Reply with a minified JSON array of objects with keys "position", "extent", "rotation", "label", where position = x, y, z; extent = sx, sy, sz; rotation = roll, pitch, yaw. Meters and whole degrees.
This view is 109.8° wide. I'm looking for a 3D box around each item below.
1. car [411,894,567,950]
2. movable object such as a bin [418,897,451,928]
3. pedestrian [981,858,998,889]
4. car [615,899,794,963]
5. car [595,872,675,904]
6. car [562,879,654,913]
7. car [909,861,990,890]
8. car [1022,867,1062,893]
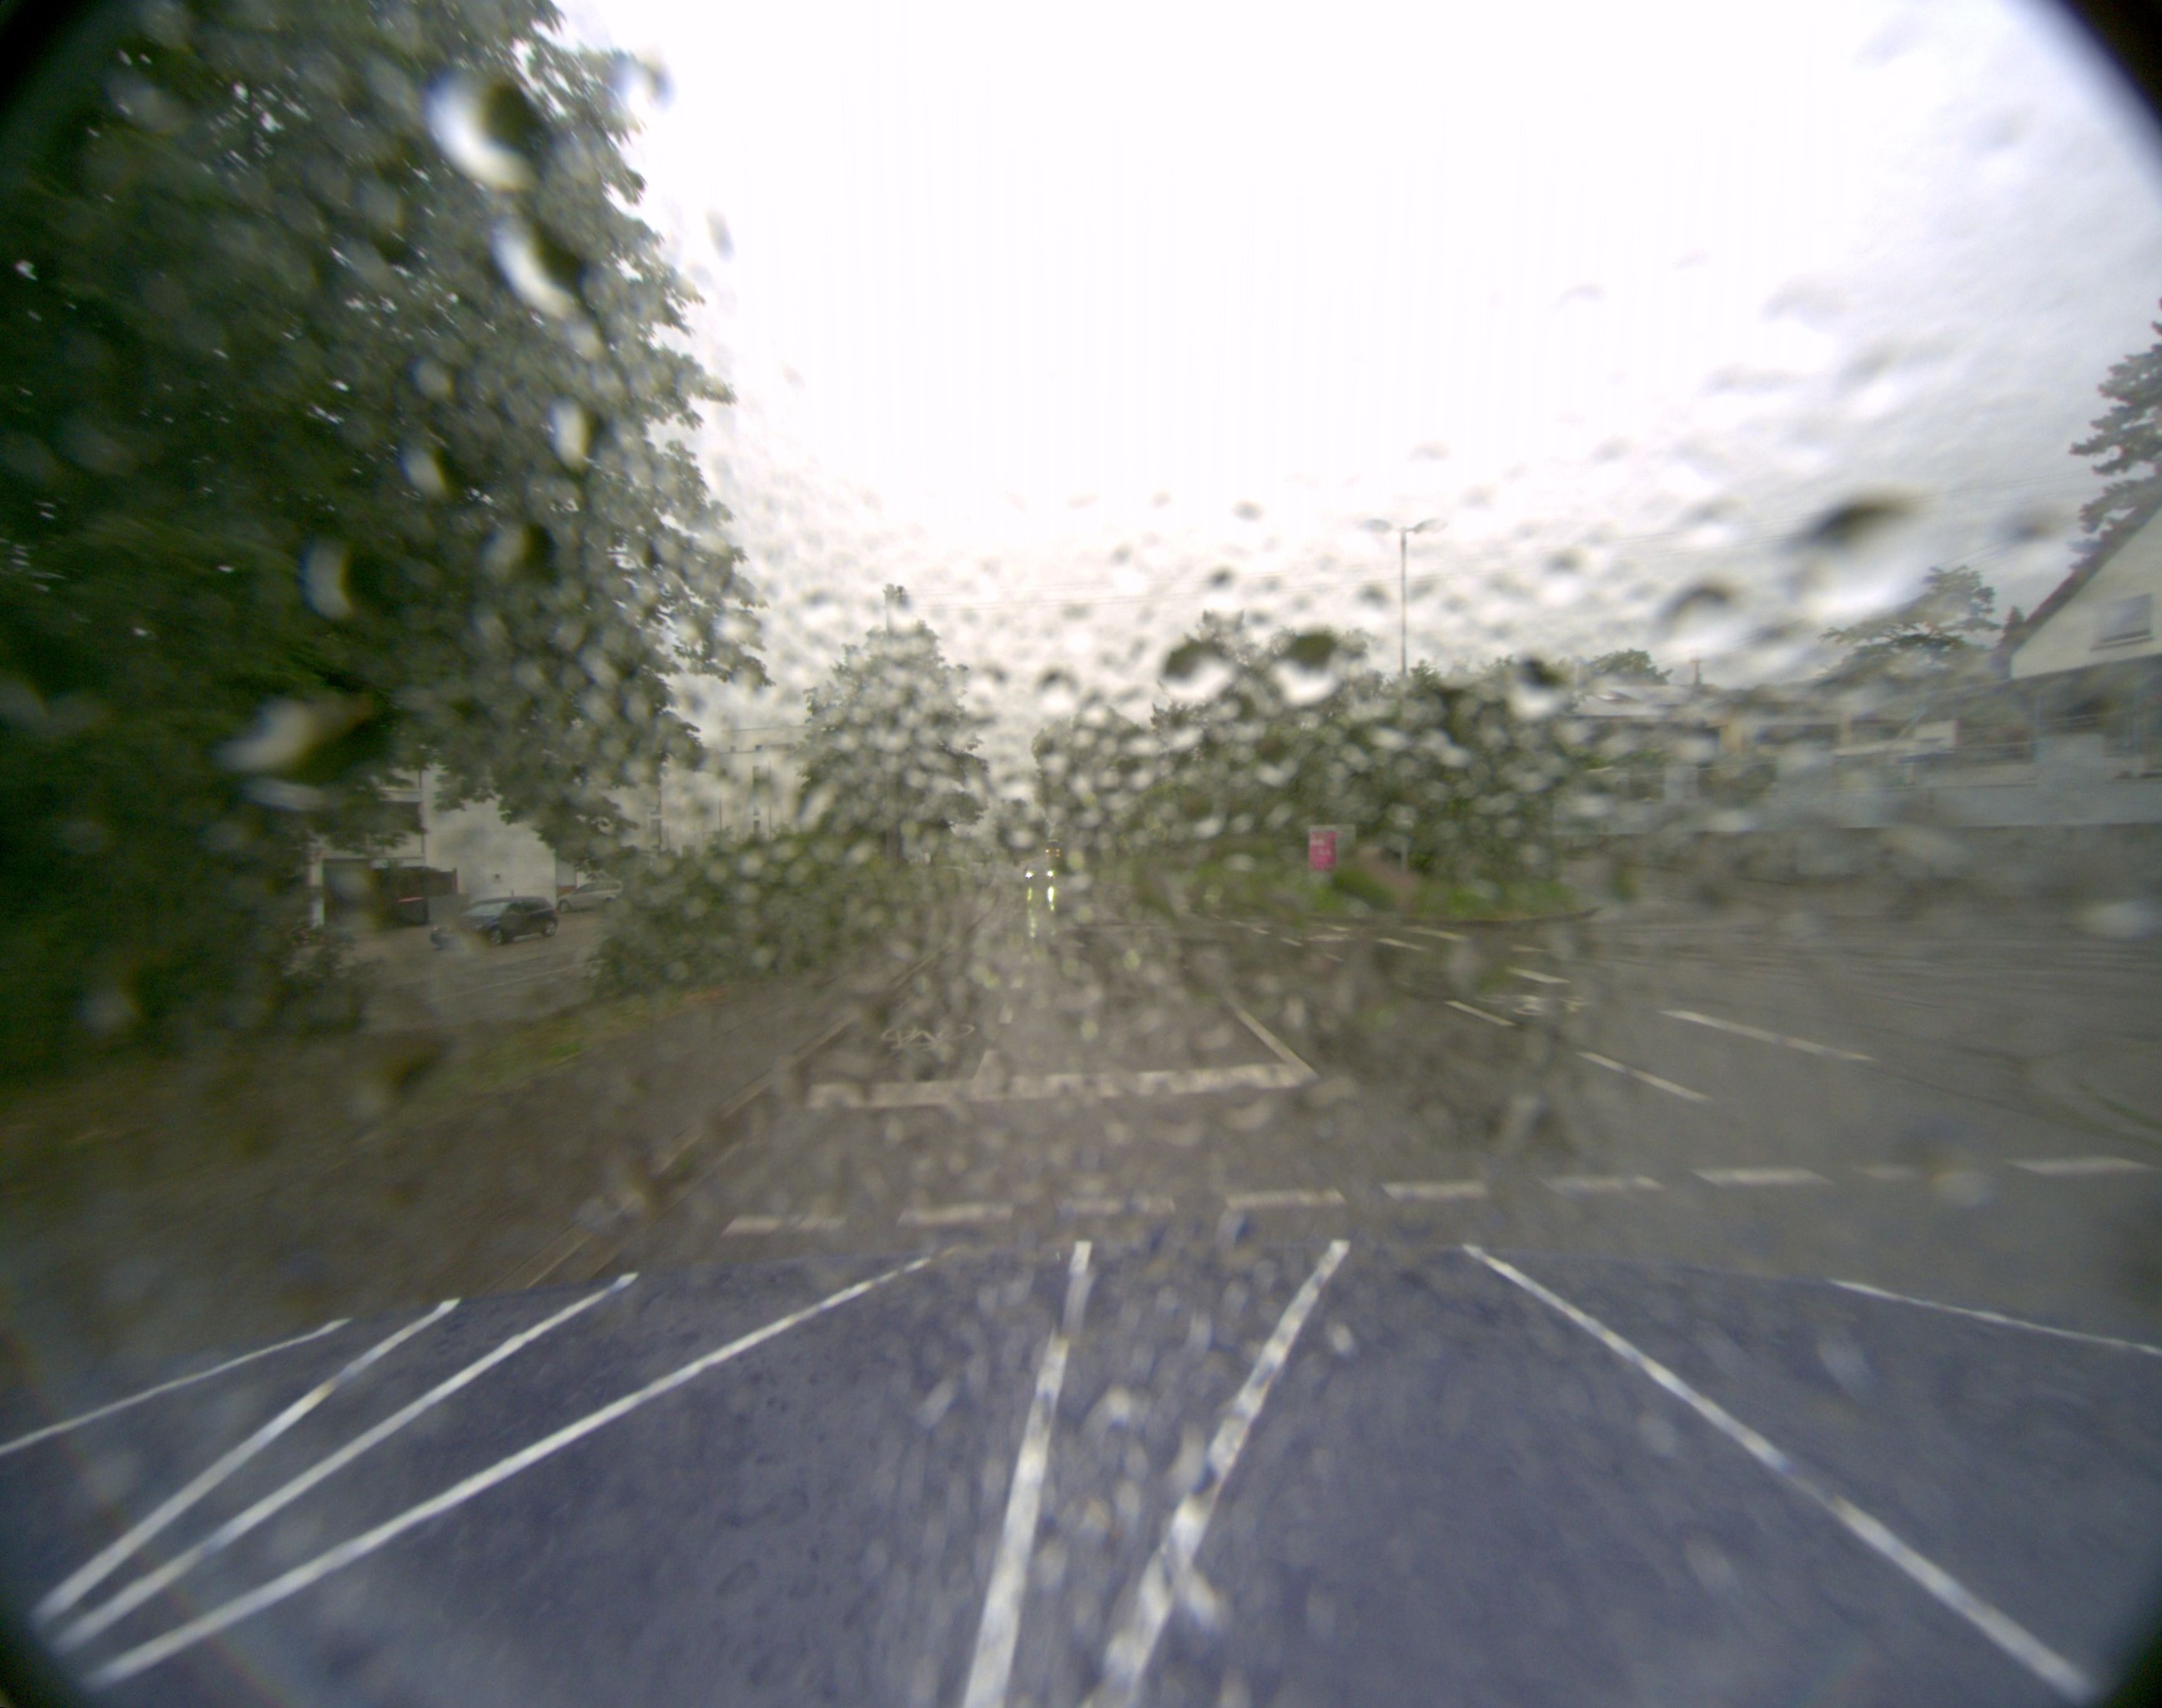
[{"position":[-19.675,2.208,25.503],"extent":[1.922,1.455,4.001],"rotation":[-3,0,3],"label":"car"},{"position":[-25.058,2.261,29.454],"extent":[0.737,1.121,0.605],"rotation":[-3,0,13],"label":"movable object such as a bin"},{"position":[-4.671,0.984,38.711],"extent":[0.770,1.517,0.873],"rotation":[0,0,-3],"label":"pedestrian"},{"position":[-10.532,2.145,21.524],"extent":[3.997,1.419,1.999],"rotation":[-2,1,-1],"label":"car"},{"position":[-28.094,2.143,47.923],"extent":[3.995,1.740,1.764],"rotation":[-2,2,6],"label":"car"},{"position":[-23.135,2.040,37.187],"extent":[3.656,1.401,1.668],"rotation":[-3,0,13],"label":"car"},{"position":[-8.372,1.363,48.671],"extent":[4.810,1.406,1.807],"rotation":[-4,1,-3],"label":"car"},{"position":[-2.681,1.753,51.709],"extent":[1.801,1.543,3.995],"rotation":[-3,0,-16],"label":"car"}]
